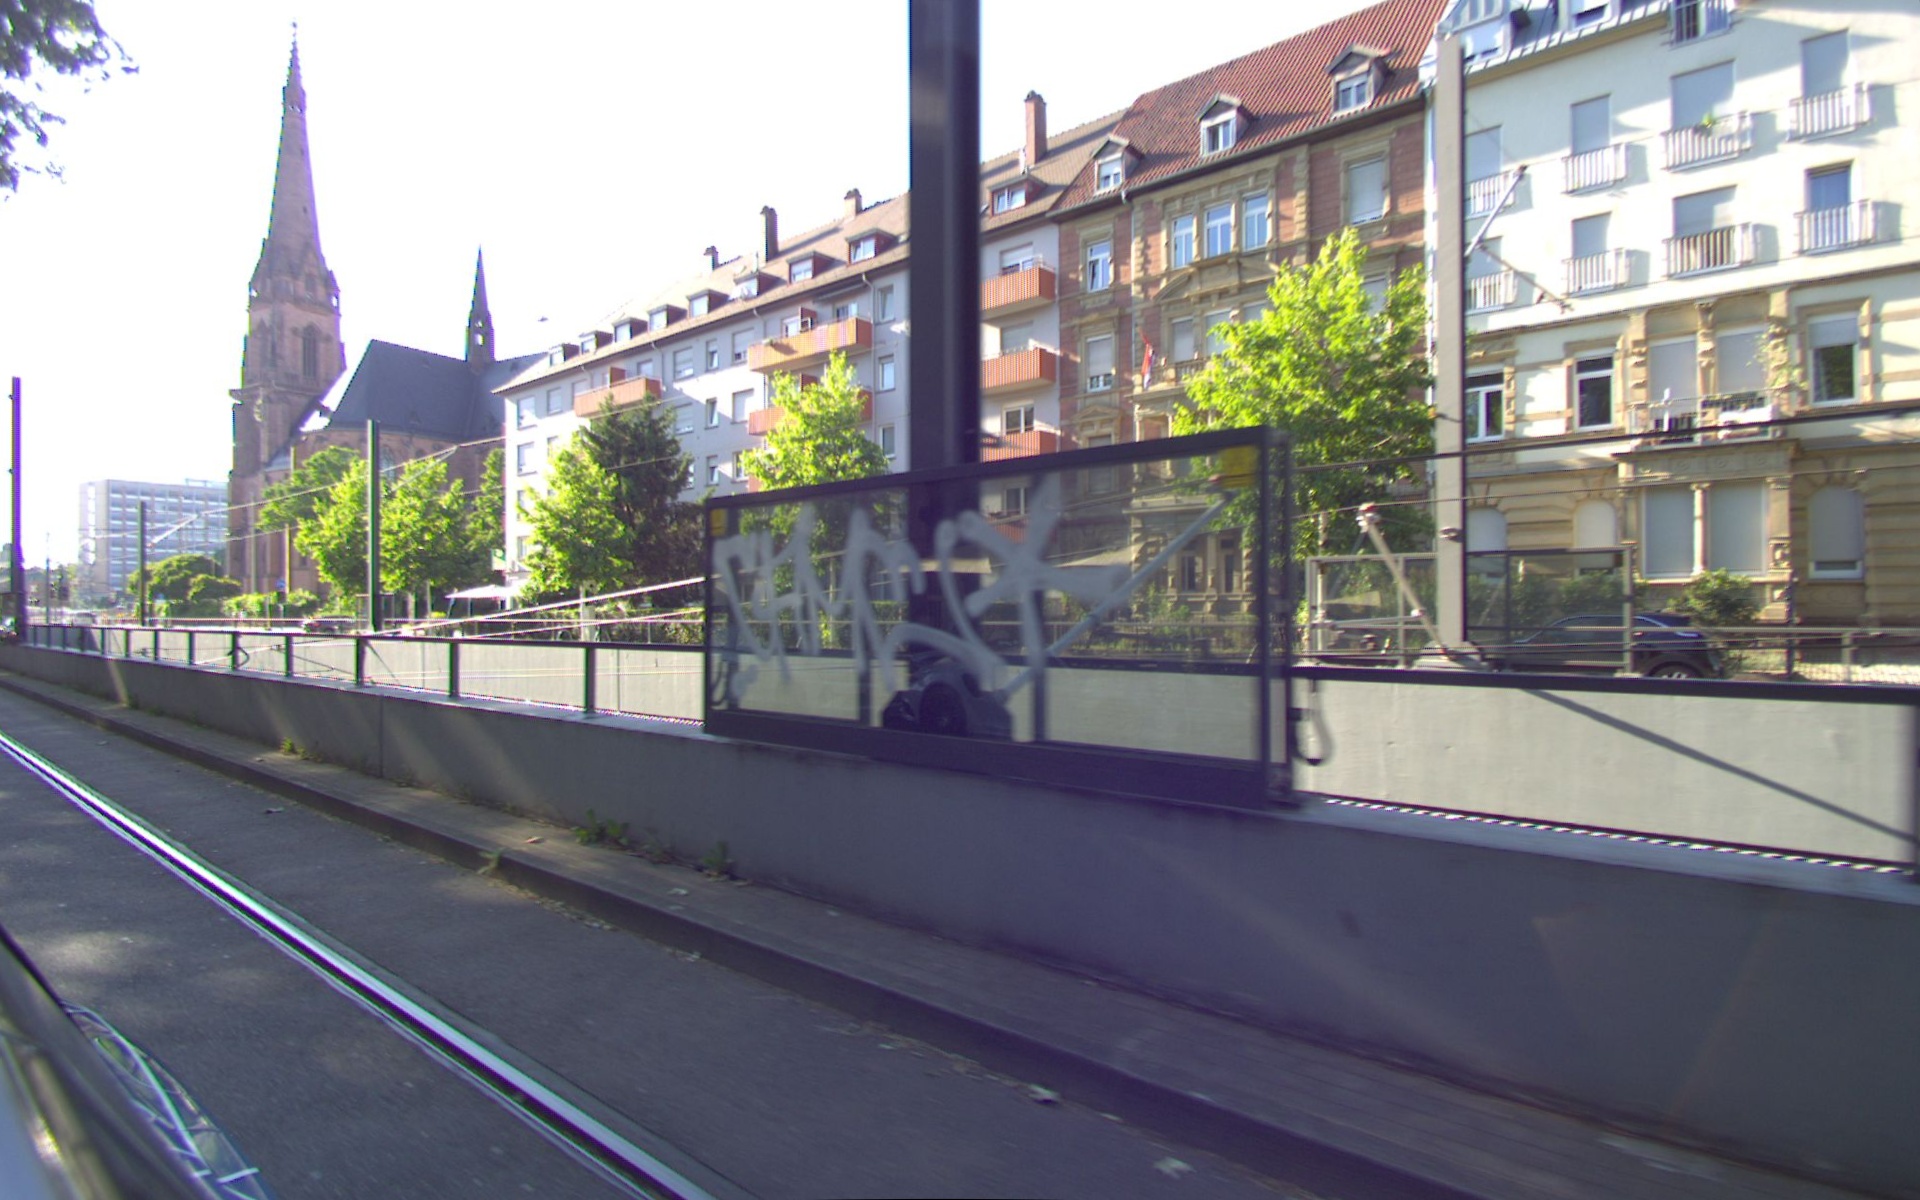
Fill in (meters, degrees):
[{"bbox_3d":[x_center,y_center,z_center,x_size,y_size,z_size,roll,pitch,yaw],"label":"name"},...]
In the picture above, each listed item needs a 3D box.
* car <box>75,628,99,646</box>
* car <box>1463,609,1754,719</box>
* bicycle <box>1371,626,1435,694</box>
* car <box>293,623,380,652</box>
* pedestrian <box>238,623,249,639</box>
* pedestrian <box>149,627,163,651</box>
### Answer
[{"bbox_3d":[-102.427,4.331,118.711,1.968,2.029,5.020,3,-3,-40],"label":"car"},{"bbox_3d":[11.009,1.015,17.295,3.996,1.597,1.814,-2,1,39],"label":"car"},{"bbox_3d":[8.726,1.152,19.894,0.562,1.187,1.788,-1,1,43],"label":"bicycle"},{"bbox_3d":[-39.765,2.354,64.611,1.977,1.515,4.347,-1,1,42],"label":"car"},{"bbox_3d":[-68.973,3.001,97.449,0.945,1.500,0.580,-2,1,38],"label":"pedestrian"},{"bbox_3d":[-57.960,2.794,72.973,0.751,1.685,0.490,-2,1,26],"label":"pedestrian"}]
